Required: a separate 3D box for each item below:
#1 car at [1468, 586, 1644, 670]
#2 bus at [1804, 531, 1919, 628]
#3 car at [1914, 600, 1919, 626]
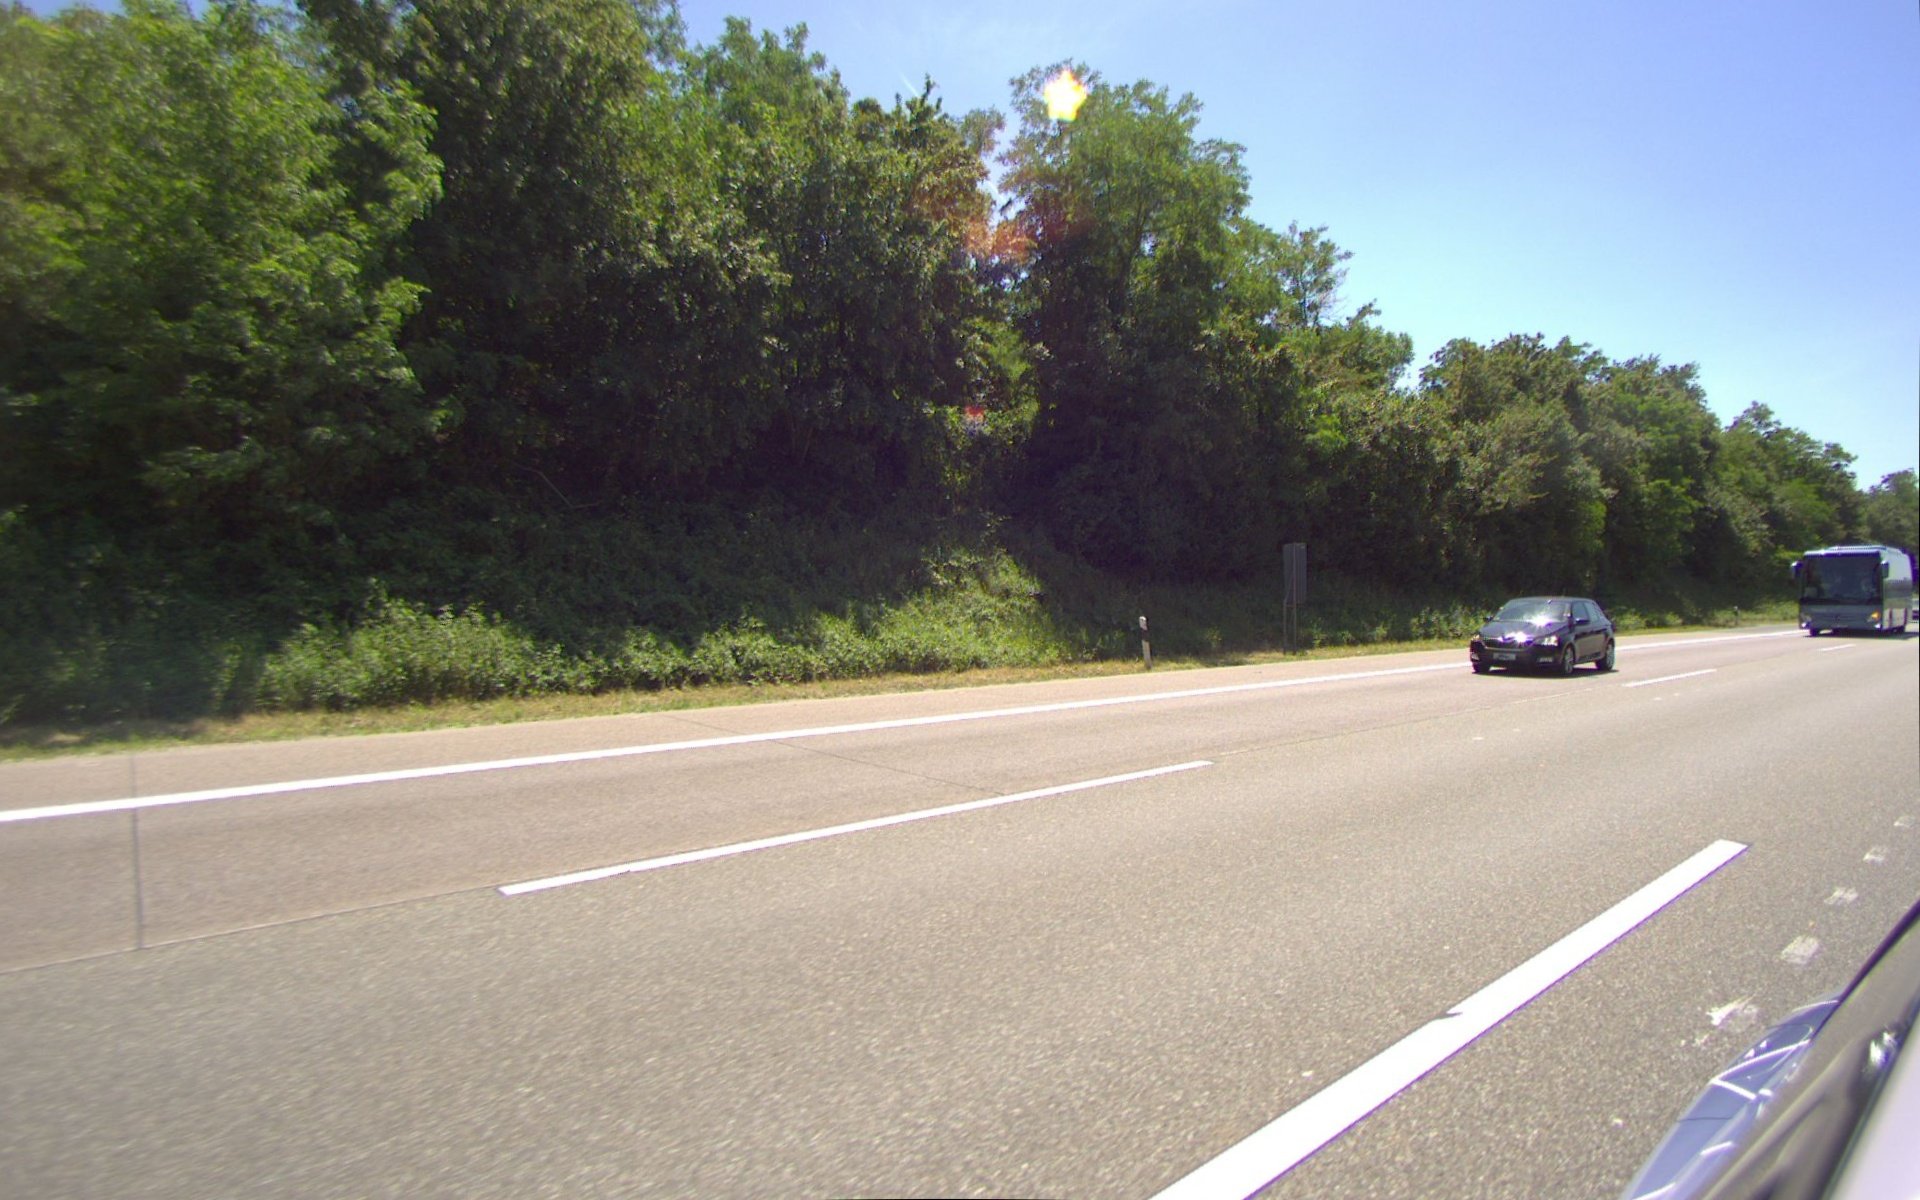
[{"bbox_3d":[11.823,0.464,19.946,4.494,1.465,1.672,-1,1,-41],"label":"car"},{"bbox_3d":[38.785,-0.850,42.866,13.445,3.597,2.614,-1,0,-41],"label":"bus"},{"bbox_3d":[62.665,0.844,64.865,3.930,1.636,1.813,-1,1,-41],"label":"car"}]
